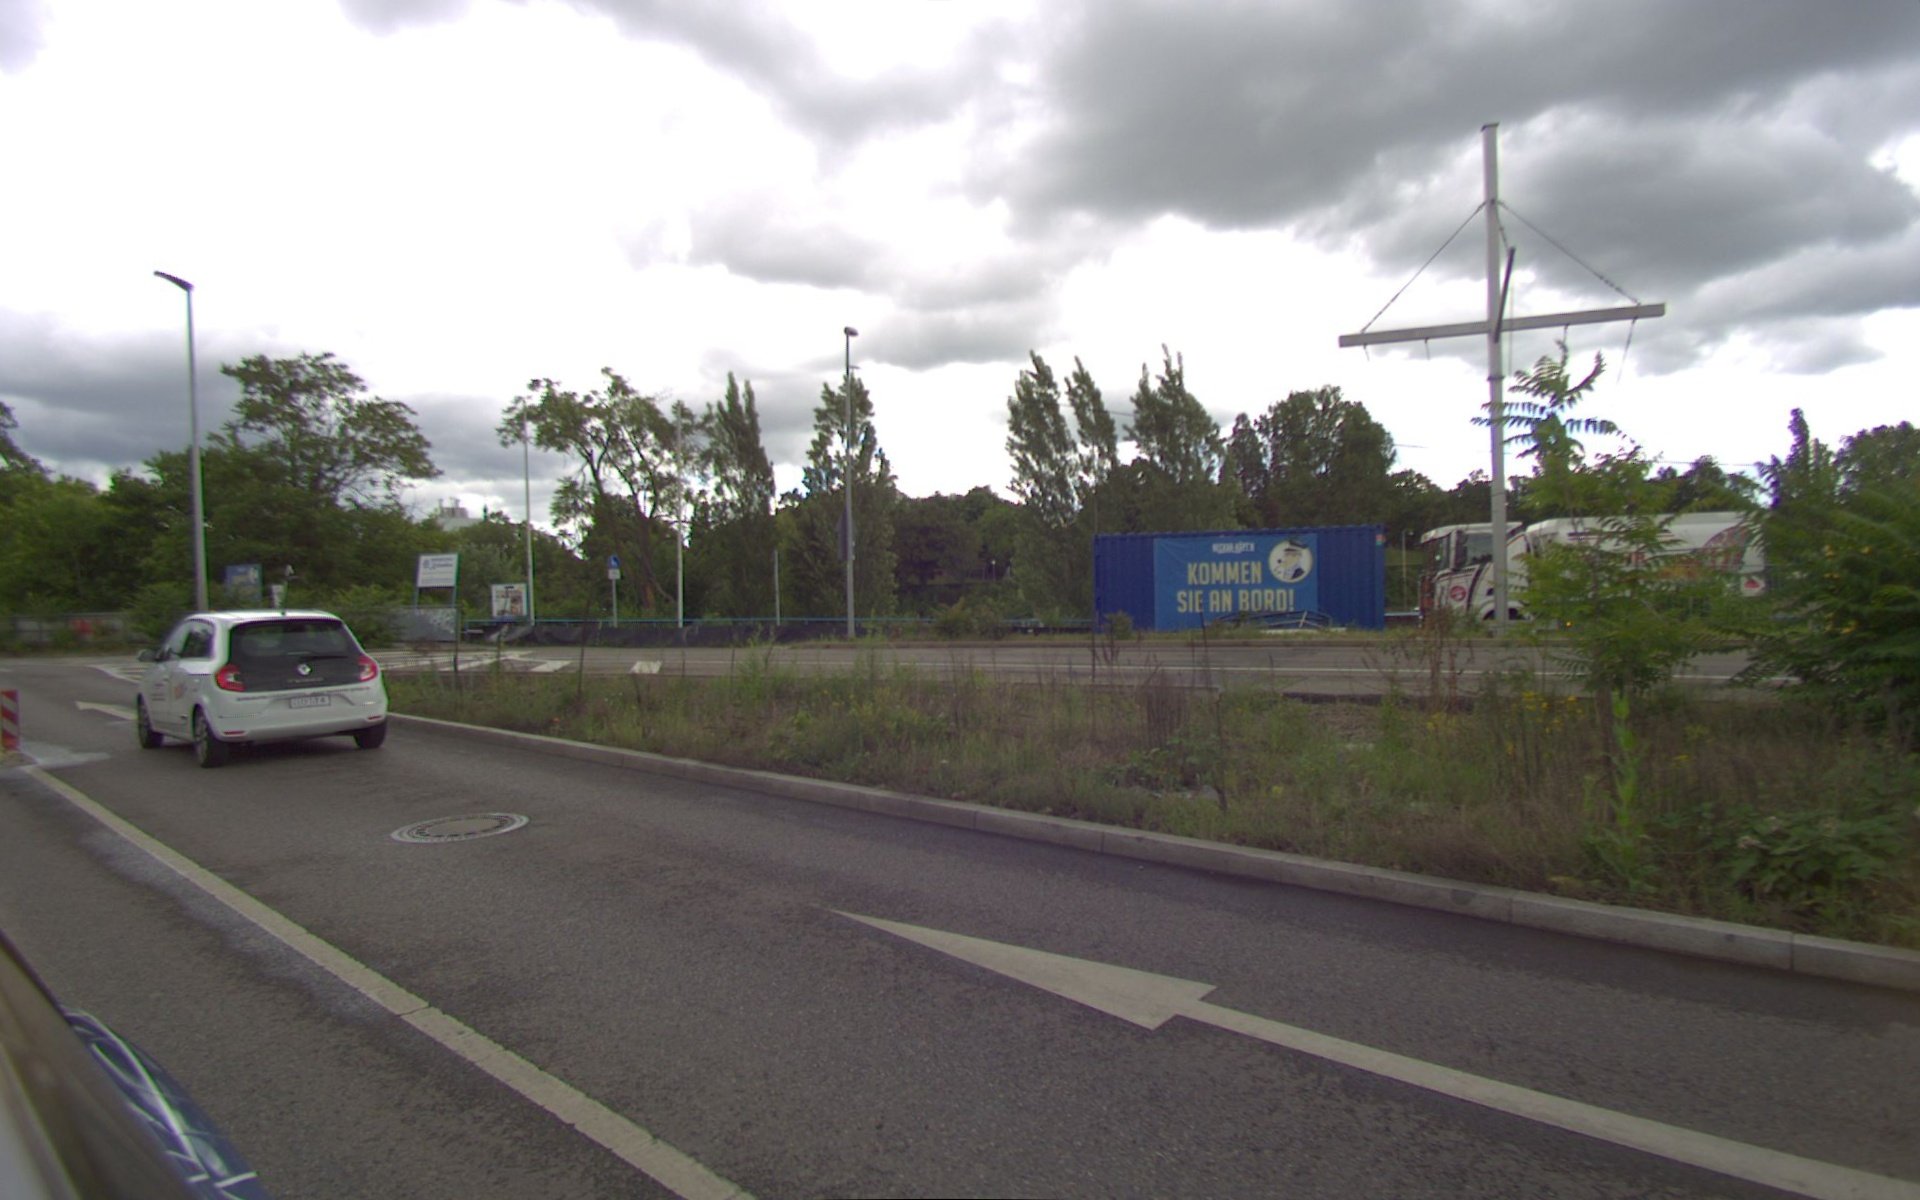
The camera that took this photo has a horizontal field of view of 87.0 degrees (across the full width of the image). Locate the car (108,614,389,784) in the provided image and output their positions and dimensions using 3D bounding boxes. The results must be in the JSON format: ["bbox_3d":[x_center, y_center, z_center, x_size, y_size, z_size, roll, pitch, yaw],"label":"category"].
[{"bbox_3d":[-8.095,0.968,11.374,4.082,1.528,1.575,-1,1,40],"label":"car"}]

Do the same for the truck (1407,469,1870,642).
[{"bbox_3d":[15.424,-0.885,23.824,8.394,3.361,2.790,-3,-2,13],"label":"truck"}]
